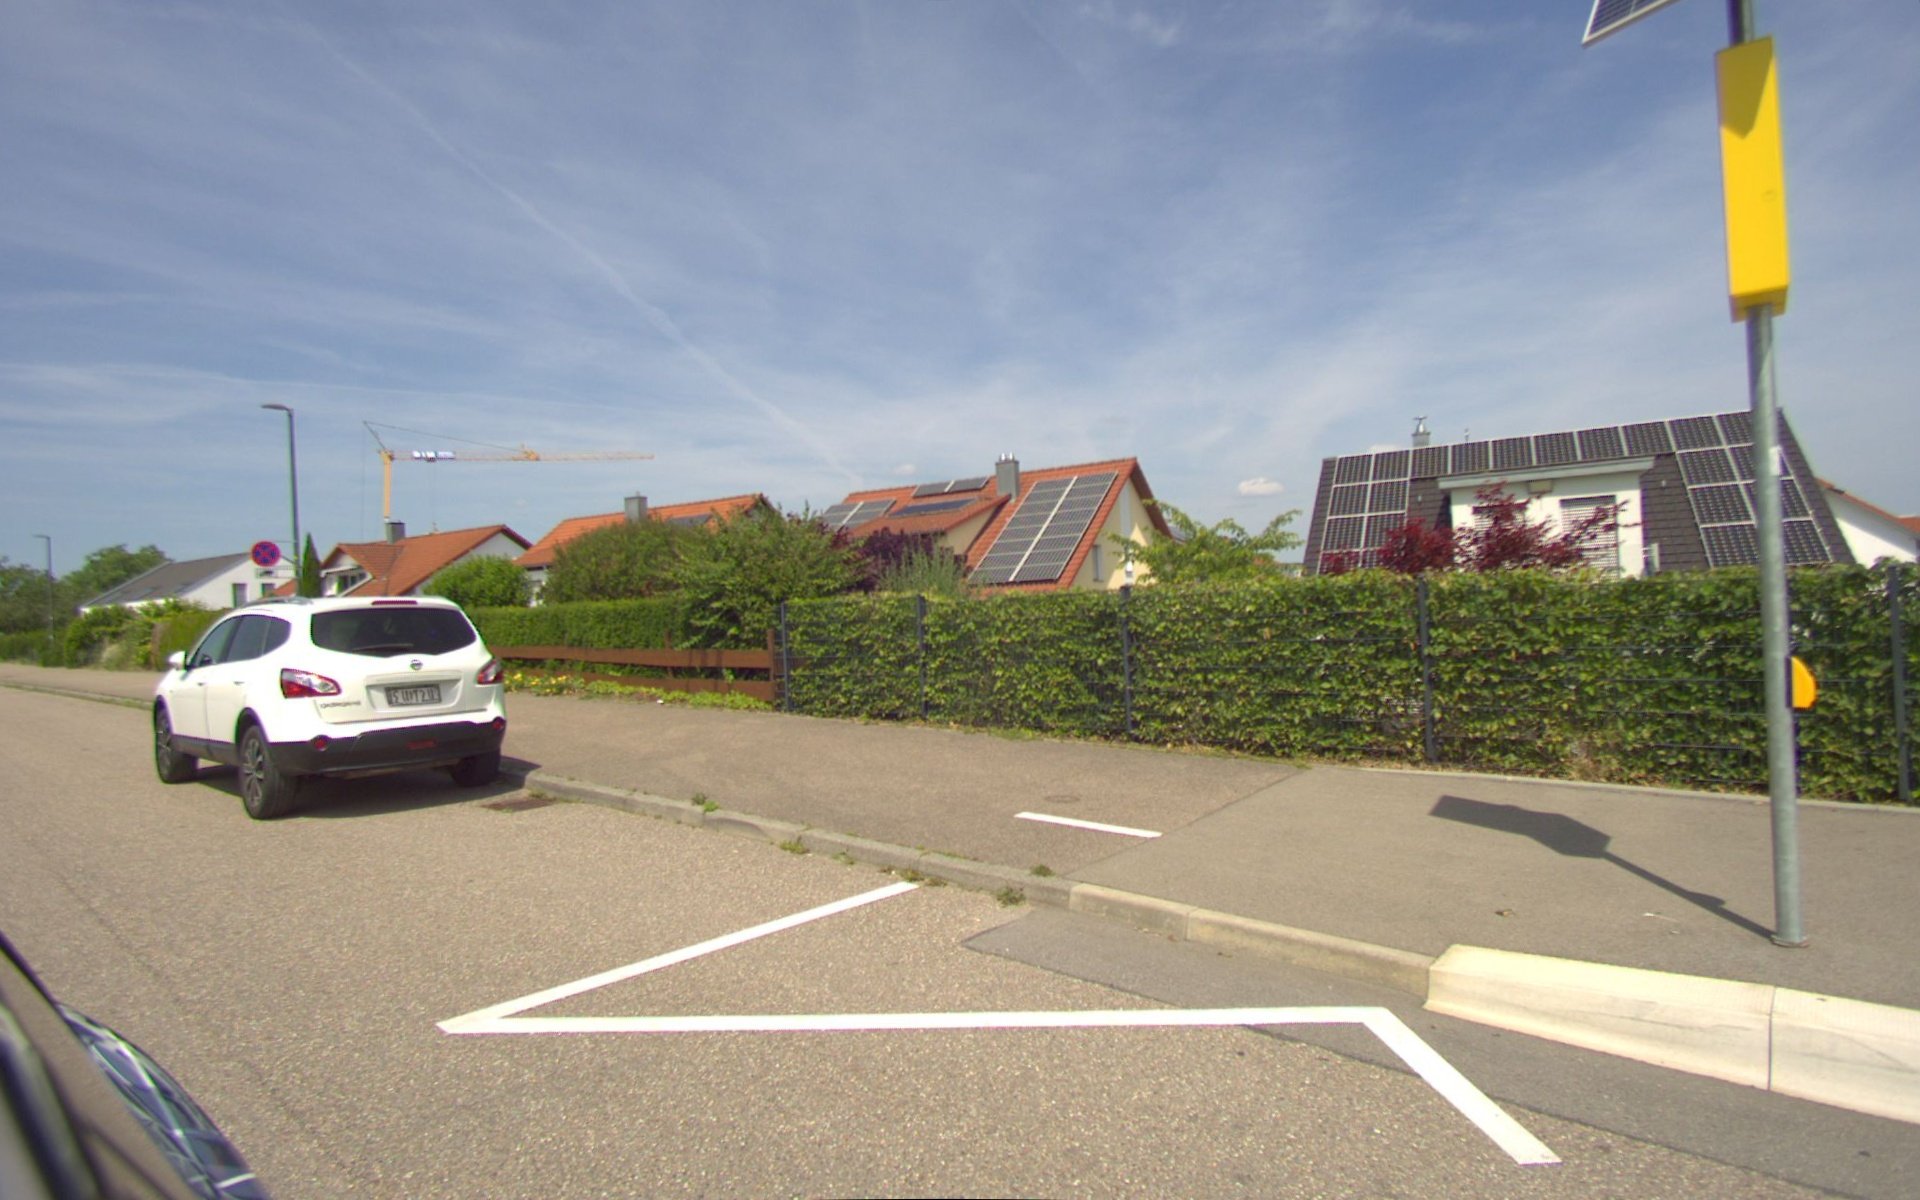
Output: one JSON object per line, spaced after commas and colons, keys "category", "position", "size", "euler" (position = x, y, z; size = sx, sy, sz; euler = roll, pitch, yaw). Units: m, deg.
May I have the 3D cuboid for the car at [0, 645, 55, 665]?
{"category": "car", "position": [-72.275, 4.265, 77.887], "size": [3.832, 1.331, 1.802], "euler": [-2, -1, -44]}

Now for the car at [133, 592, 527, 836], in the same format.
{"category": "car", "position": [-5.703, 0.818, 8.921], "size": [4.349, 1.645, 1.716], "euler": [-2, -1, 41]}

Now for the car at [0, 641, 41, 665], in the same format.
{"category": "car", "position": [-78.671, 4.428, 83.698], "size": [3.832, 1.826, 1.802], "euler": [-3, -1, -44]}
